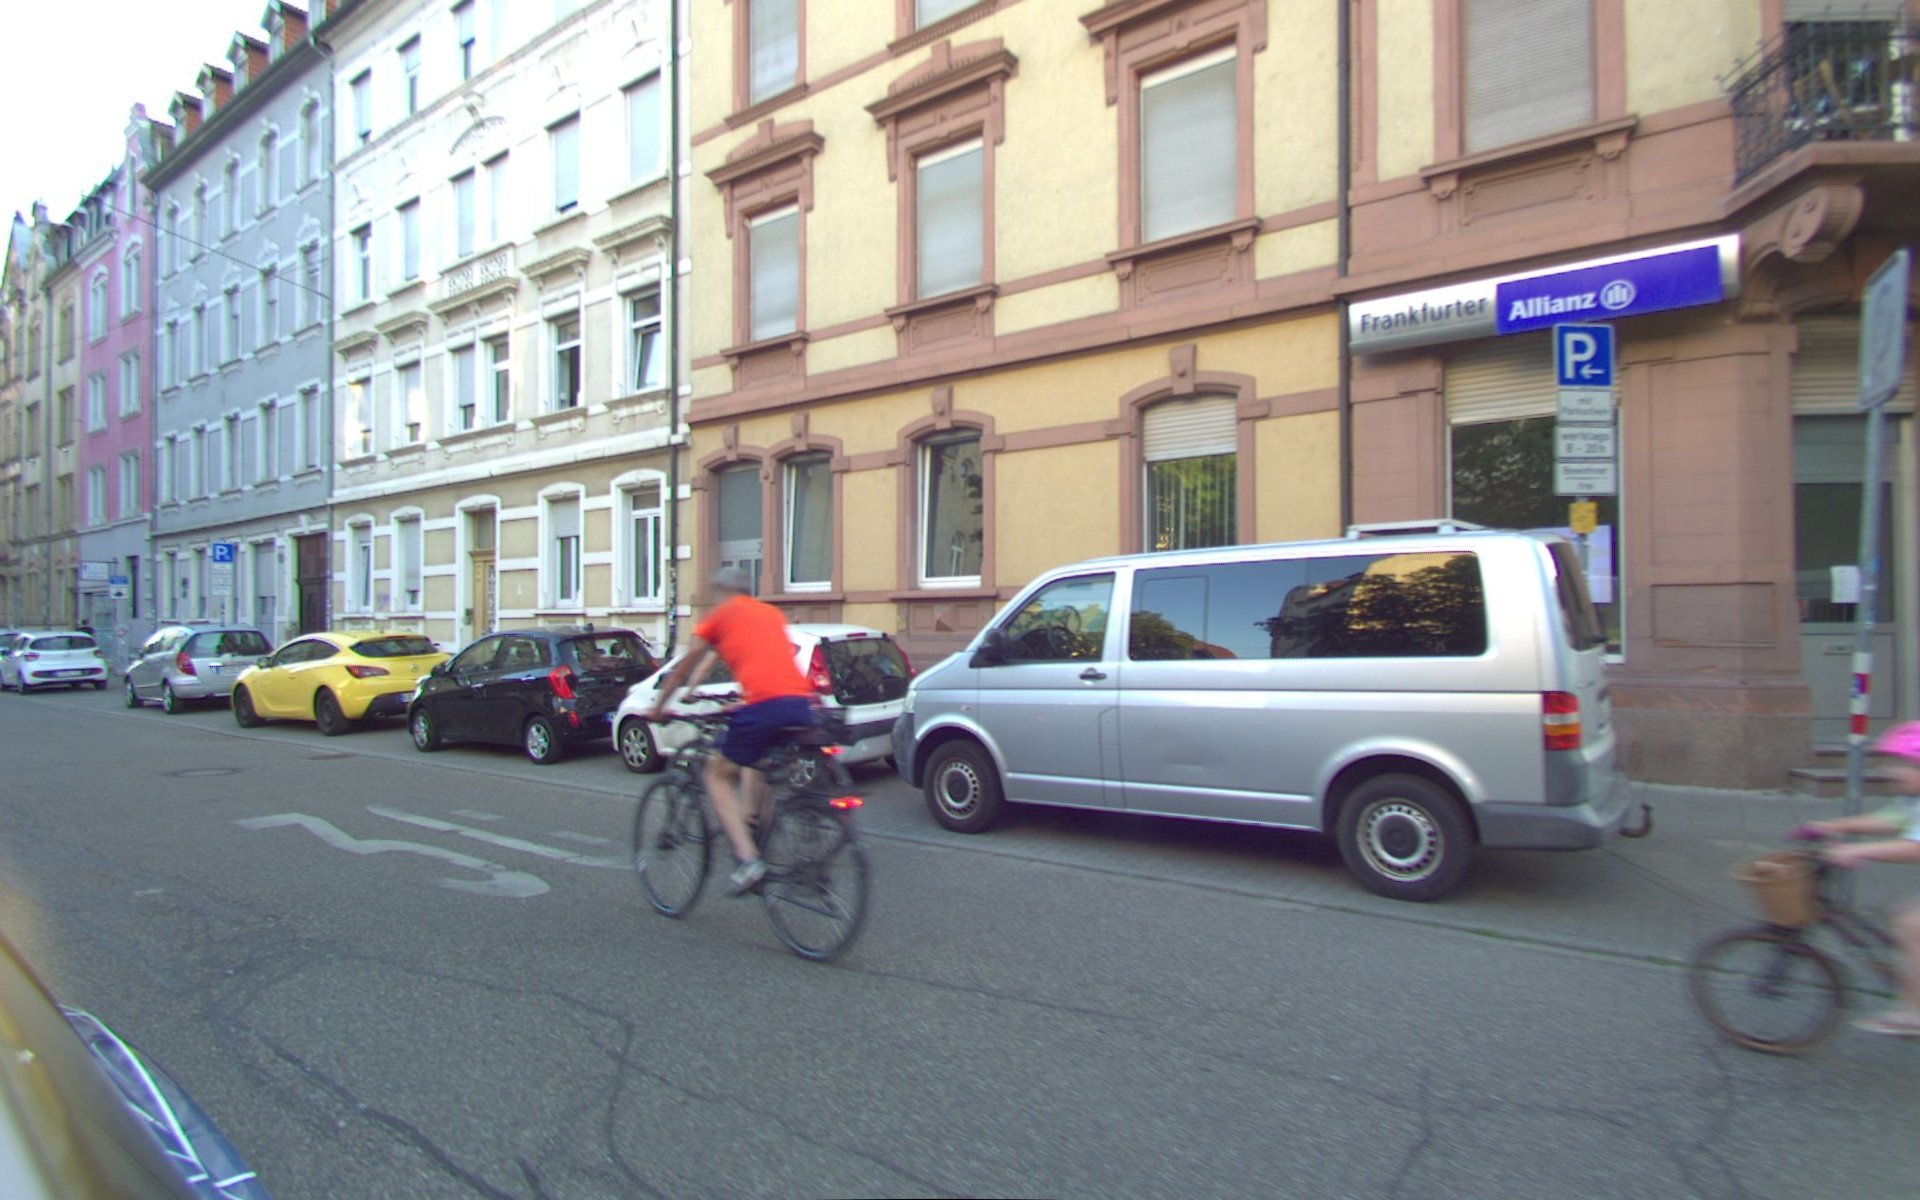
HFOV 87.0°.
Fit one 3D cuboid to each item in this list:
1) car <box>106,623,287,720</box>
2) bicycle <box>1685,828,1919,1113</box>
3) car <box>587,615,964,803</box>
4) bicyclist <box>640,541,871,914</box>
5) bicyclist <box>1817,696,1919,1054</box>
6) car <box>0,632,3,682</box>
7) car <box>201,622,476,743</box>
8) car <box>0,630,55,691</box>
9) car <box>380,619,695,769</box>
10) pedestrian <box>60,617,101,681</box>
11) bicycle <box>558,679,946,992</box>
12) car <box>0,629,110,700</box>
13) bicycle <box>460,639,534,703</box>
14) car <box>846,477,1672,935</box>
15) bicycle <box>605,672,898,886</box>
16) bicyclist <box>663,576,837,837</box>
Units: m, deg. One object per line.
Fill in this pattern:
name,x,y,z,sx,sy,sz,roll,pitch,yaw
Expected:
car,-14.755,1.302,19.491,4.140,1.604,1.783,-2,0,39
bicycle,3.122,1.156,3.052,1.463,0.647,0.643,-2,-2,41
car,-1.911,0.949,10.095,3.607,1.502,1.669,-2,0,37
bicyclist,-0.955,0.537,4.708,0.866,1.537,0.646,-2,-2,37
bicyclist,3.100,0.820,3.075,0.730,0.984,0.639,-2,-2,41
car,-32.522,1.885,32.629,4.050,1.604,1.737,-2,0,37
car,-9.648,1.182,15.568,4.790,1.537,1.823,-2,0,35
car,-27.660,1.720,28.768,4.661,1.604,1.817,-2,0,35
car,-5.156,1.032,12.226,3.731,1.502,1.715,-2,0,33
pedestrian,-27.856,1.537,32.058,0.833,1.964,0.840,-2,-2,41
bicycle,-1.055,0.974,4.777,2.011,1.115,0.643,-2,-2,38
car,-23.399,1.609,25.866,3.921,1.588,1.737,-2,0,38
bicycle,-8.746,1.314,19.082,1.861,1.149,0.475,-2,-2,38
car,1.745,0.520,6.920,4.997,2.072,2.022,-2,0,38
bicycle,-1.397,1.061,6.537,2.011,1.115,0.714,-2,-2,38
bicyclist,-1.355,0.638,6.514,0.866,1.537,0.706,-2,-2,38
